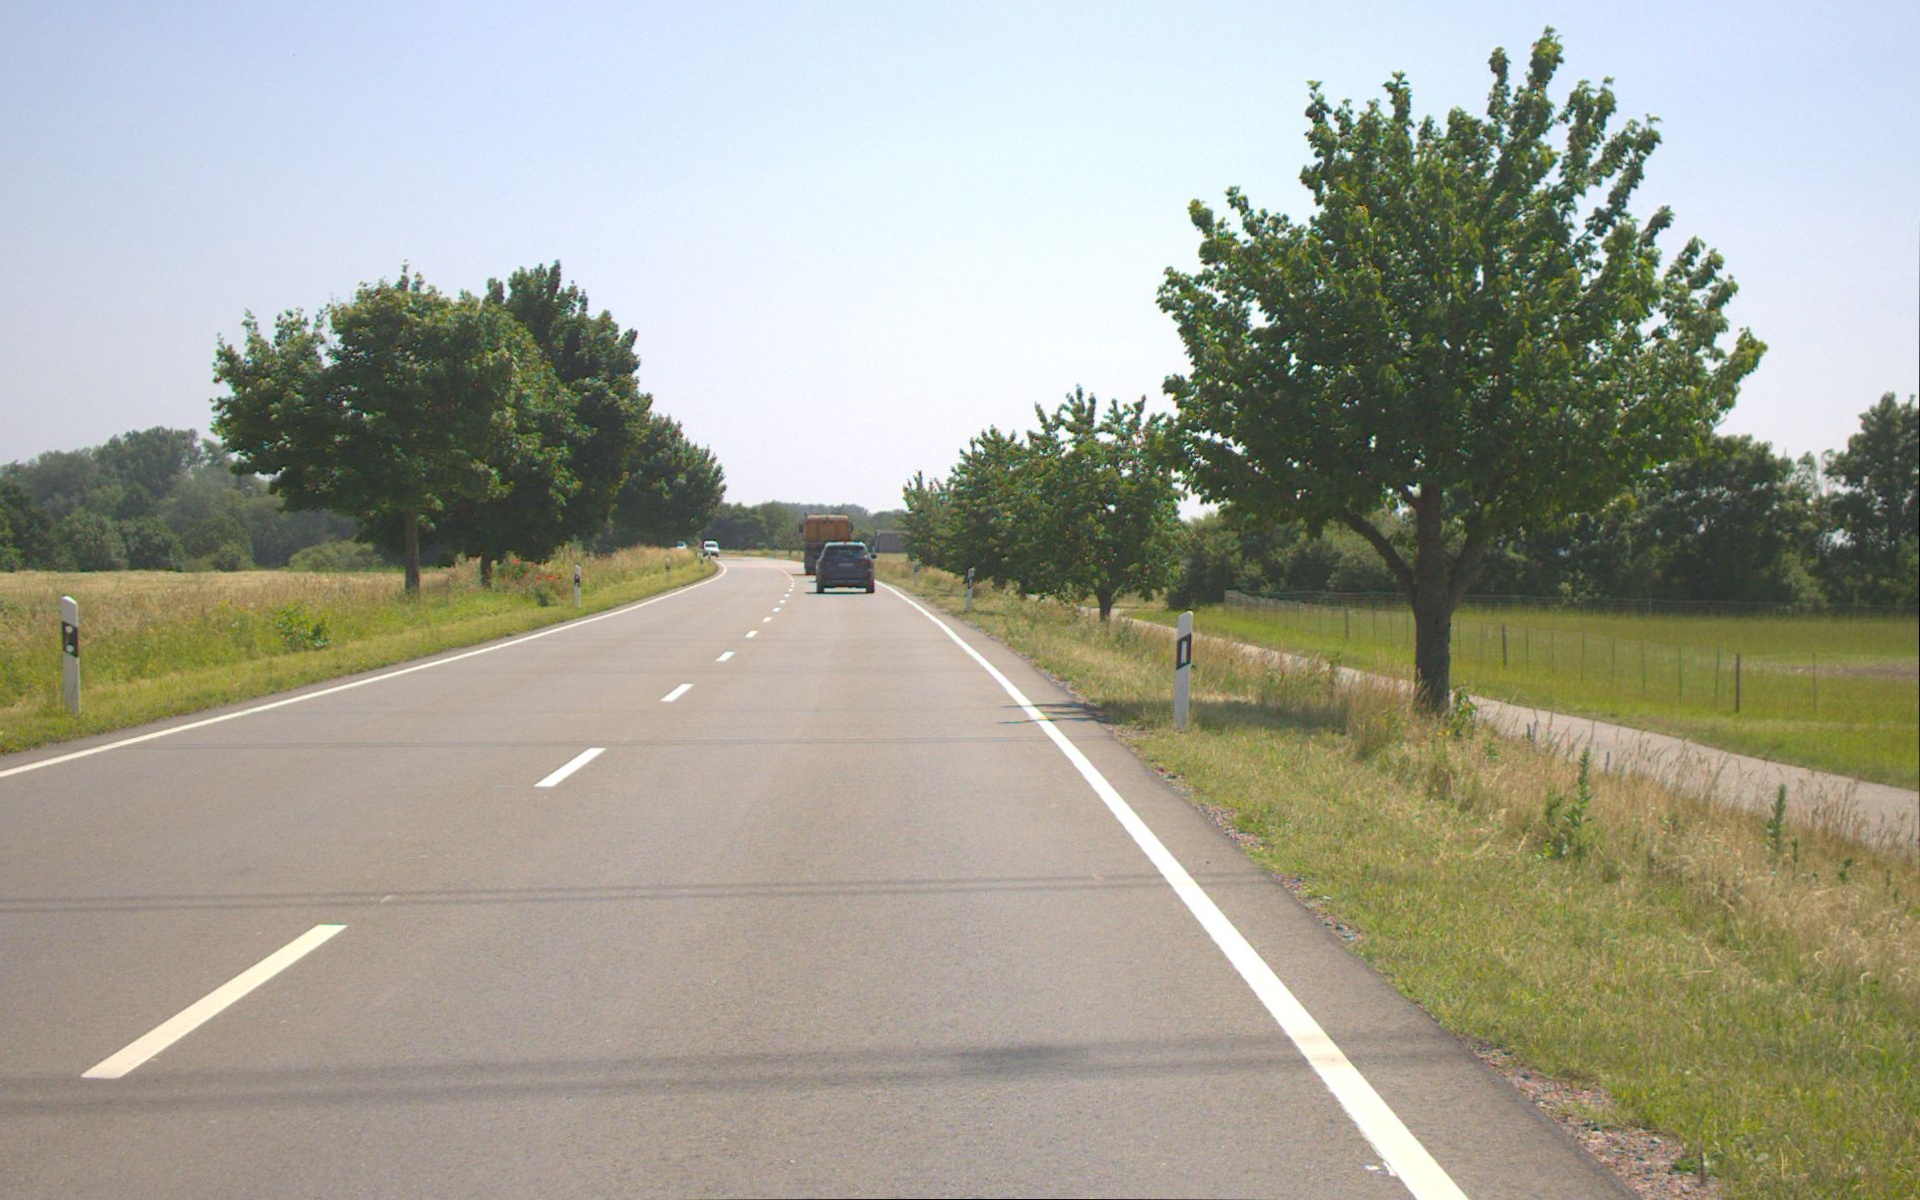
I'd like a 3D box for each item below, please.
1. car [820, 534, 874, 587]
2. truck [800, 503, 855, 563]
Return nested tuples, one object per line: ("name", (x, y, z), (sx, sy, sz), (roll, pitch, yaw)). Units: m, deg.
("car", (-3.721, -1.291, 112.989), (1.714, 1.688, 3.989), (1, 1, -2))
("truck", (-7.101, -3.560, 183.763), (2.370, 3.129, 8.749), (1, 1, -6))
